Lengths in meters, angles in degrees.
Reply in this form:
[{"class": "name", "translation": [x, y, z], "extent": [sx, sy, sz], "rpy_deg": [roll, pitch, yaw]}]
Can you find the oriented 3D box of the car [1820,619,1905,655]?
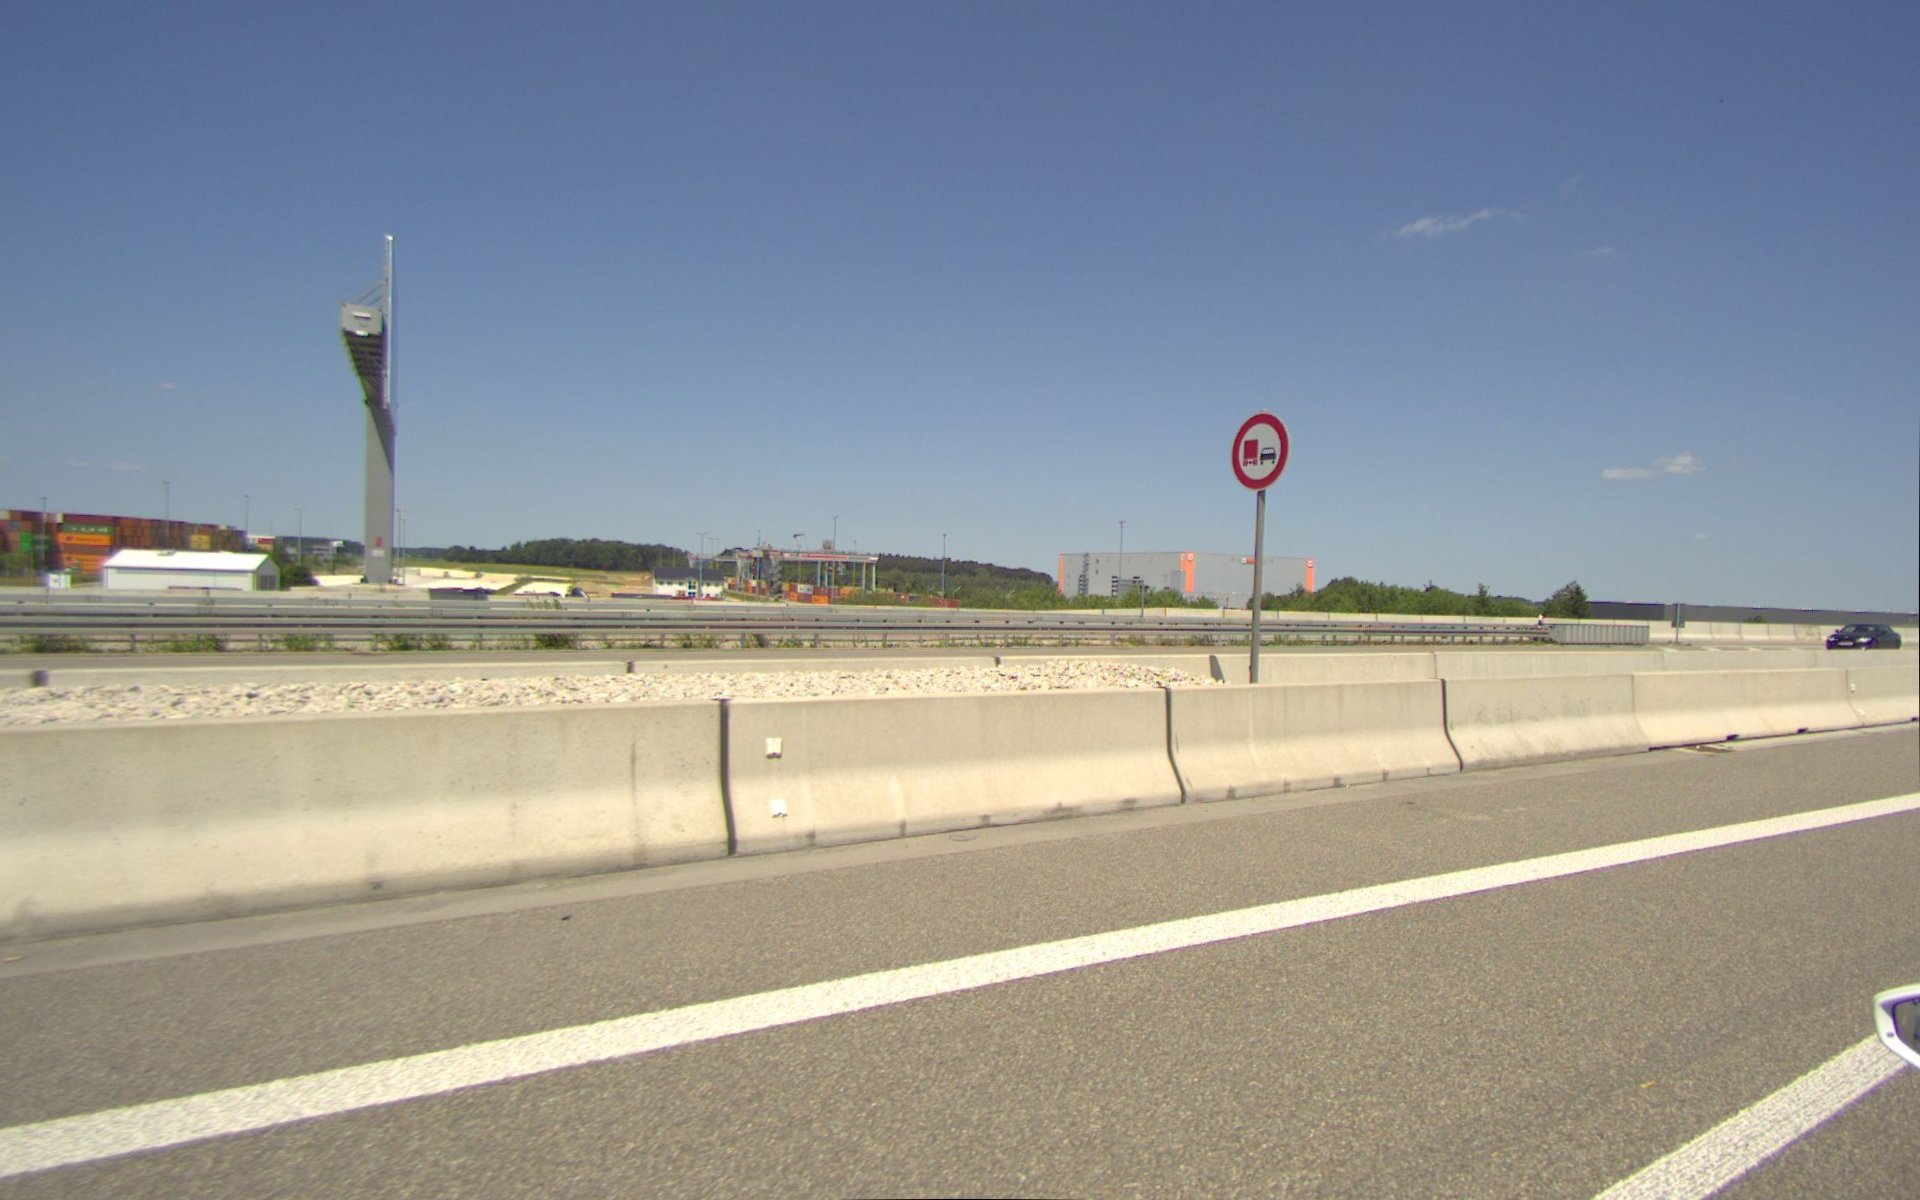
[{"class": "car", "translation": [42.698, 1.725, 47.505], "extent": [4.496, 1.557, 1.724], "rpy_deg": [1, 1, -31]}]
